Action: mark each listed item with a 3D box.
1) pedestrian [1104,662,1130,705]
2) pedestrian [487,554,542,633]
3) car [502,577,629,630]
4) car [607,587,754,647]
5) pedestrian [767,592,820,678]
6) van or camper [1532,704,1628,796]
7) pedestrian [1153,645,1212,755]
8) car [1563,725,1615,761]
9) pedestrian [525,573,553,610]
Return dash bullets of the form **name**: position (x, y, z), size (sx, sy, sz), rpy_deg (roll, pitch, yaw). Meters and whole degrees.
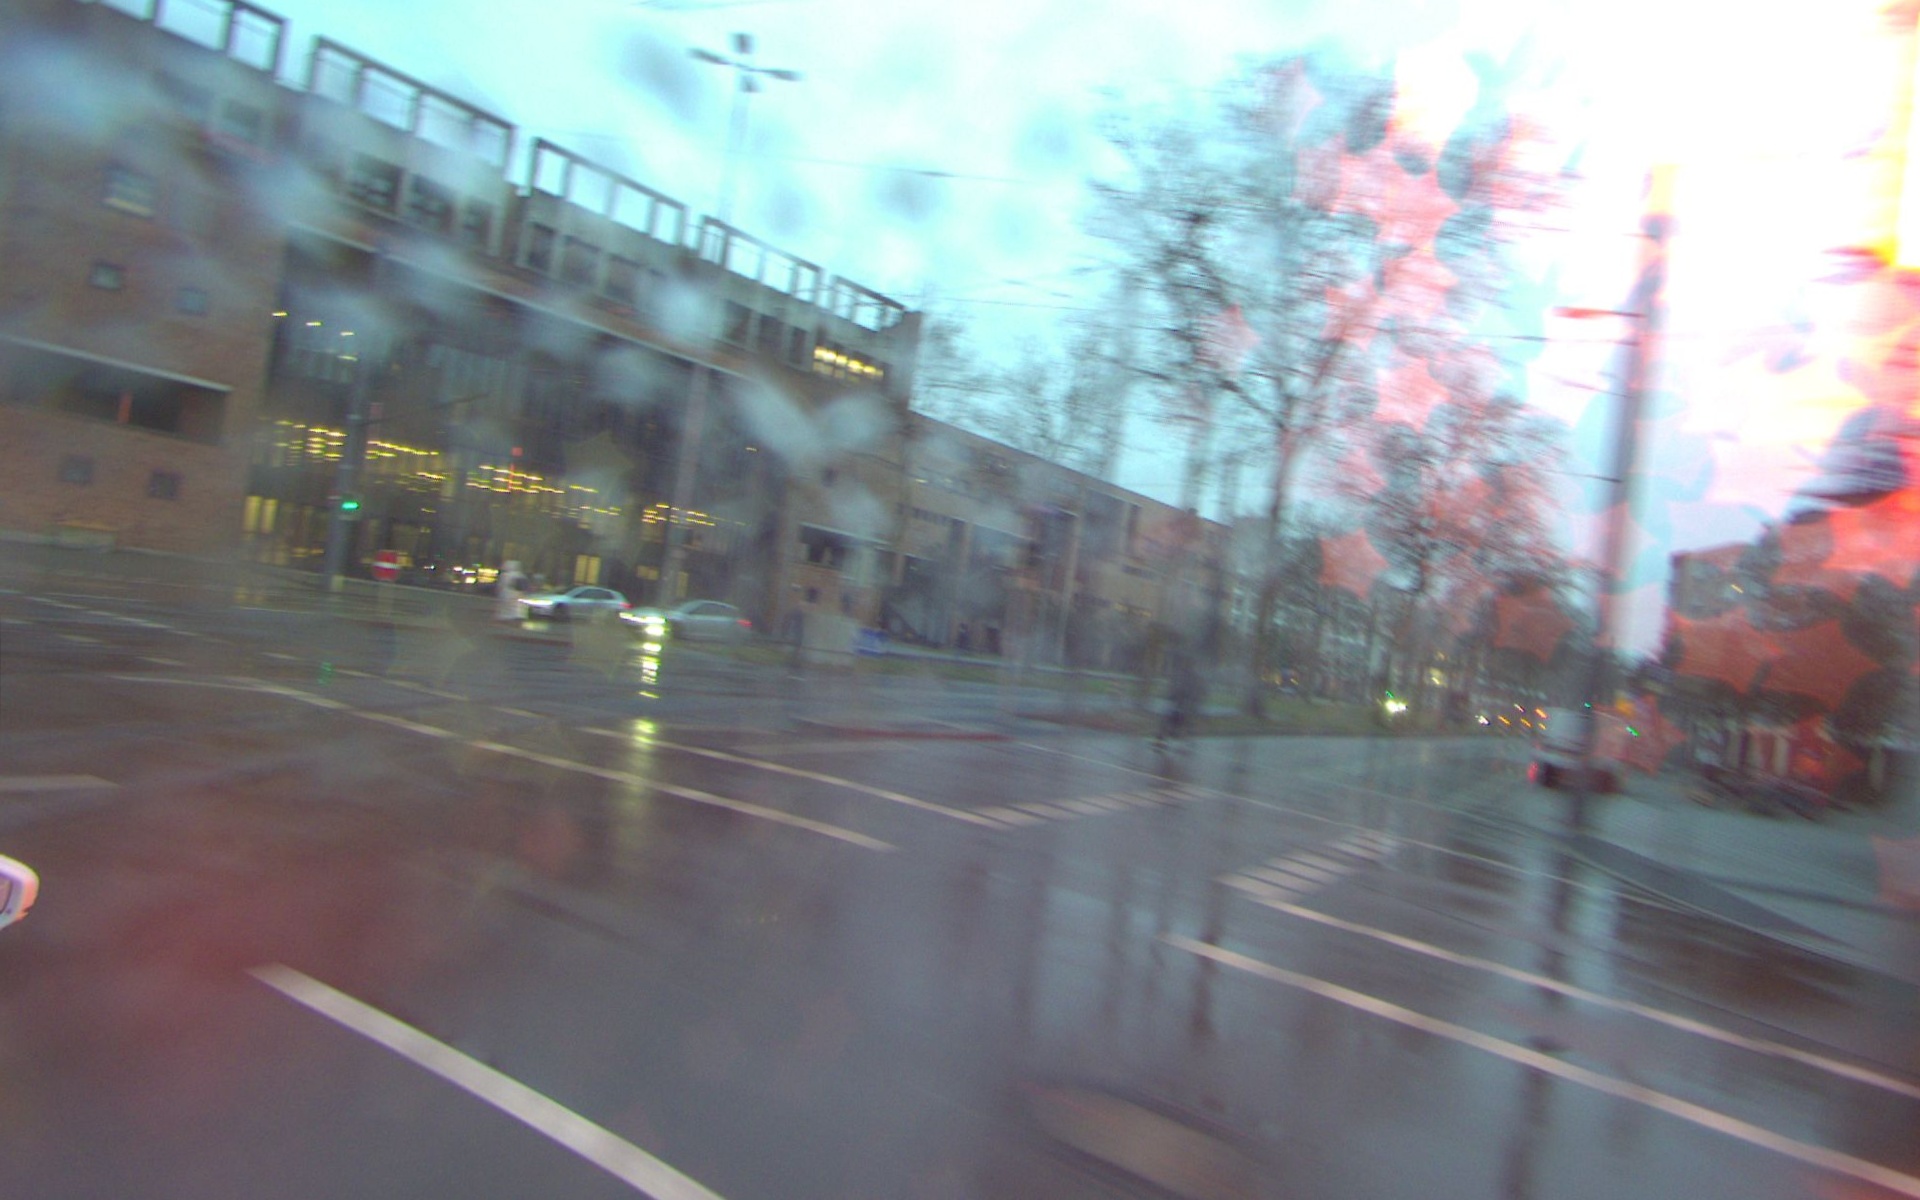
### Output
- **pedestrian**: position (5.397, 2.888, 34.646), size (0.472, 1.380, 0.604), rpy_deg (7, -1, 40)
- **pedestrian**: position (-10.892, -0.154, 24.599), size (0.722, 1.808, 0.735), rpy_deg (7, -1, 29)
- **car**: position (-14.563, 0.147, 37.314), size (1.785, 1.324, 3.988), rpy_deg (7, -3, 34)
- **car**: position (-8.412, 0.539, 30.581), size (1.786, 1.357, 3.984), rpy_deg (7, -1, 35)
- **pedestrian**: position (-3.772, 0.790, 22.860), size (0.763, 1.808, 1.153), rpy_deg (8, -1, 2)
- **van or camper**: position (16.555, 3.965, 26.848), size (1.811, 1.950, 4.742), rpy_deg (7, -3, 33)
- **pedestrian**: position (3.987, 1.775, 18.078), size (0.639, 1.832, 0.800), rpy_deg (8, -1, -1)
- **car**: position (31.571, 7.135, 50.454), size (1.814, 1.449, 3.989), rpy_deg (7, -2, 36)
- **pedestrian**: position (-17.548, -0.355, 41.923), size (0.733, 1.405, 0.730), rpy_deg (9, -1, -37)
